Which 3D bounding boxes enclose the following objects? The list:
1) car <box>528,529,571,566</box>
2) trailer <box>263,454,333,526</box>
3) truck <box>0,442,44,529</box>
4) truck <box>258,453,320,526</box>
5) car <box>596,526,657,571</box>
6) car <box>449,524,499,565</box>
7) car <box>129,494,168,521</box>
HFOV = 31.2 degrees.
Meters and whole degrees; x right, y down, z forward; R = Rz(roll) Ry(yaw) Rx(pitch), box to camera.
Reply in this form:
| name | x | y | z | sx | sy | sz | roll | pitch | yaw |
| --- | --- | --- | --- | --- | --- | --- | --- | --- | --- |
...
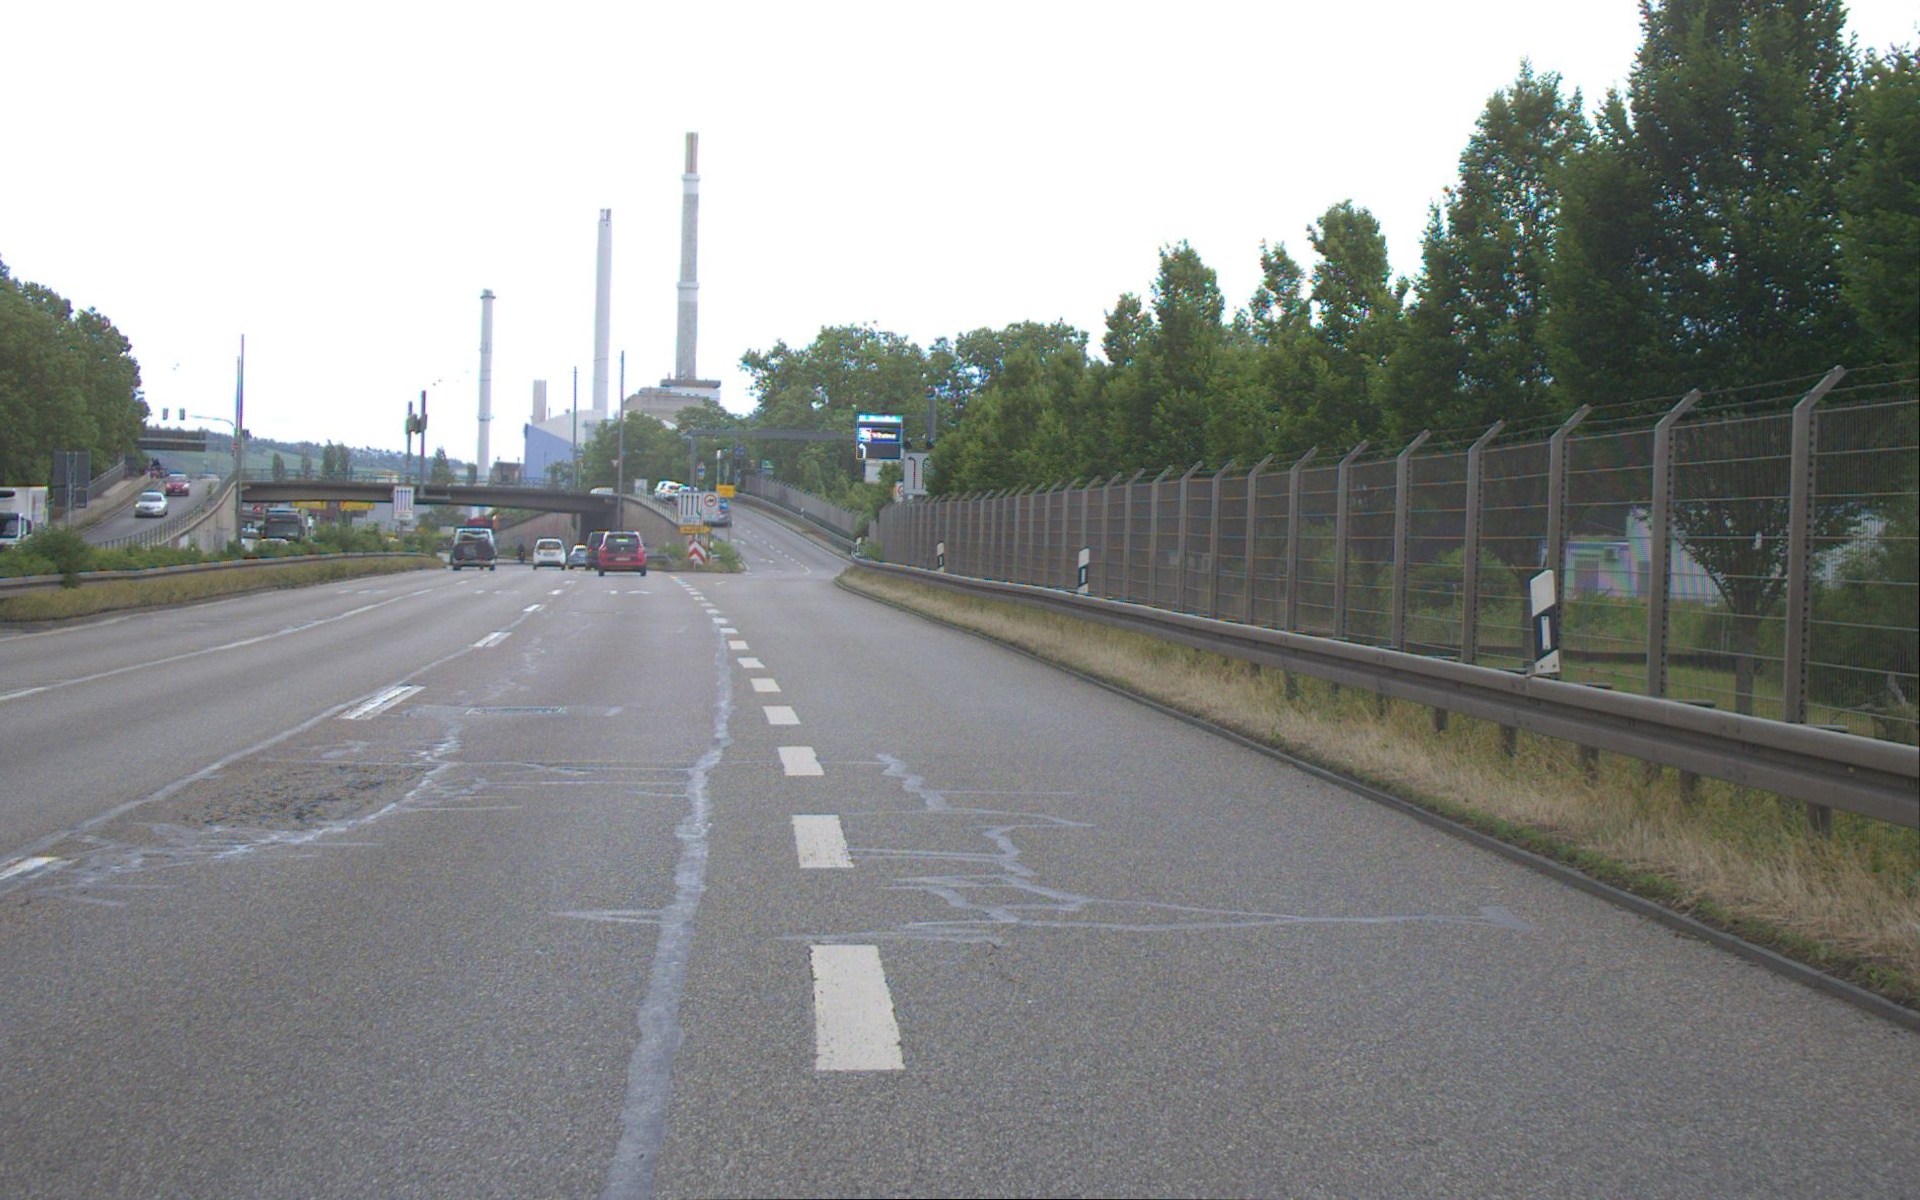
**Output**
| name | x | y | z | sx | sy | sz | roll | pitch | yaw |
| --- | --- | --- | --- | --- | --- | --- | --- | --- | --- |
| car | -20.462 | -2.636 | 171.308 | 1.993 | 1.678 | 4.001 | 2 | 2 | -6 |
| trailer | -45.685 | -7.517 | 237.592 | 3.462 | 4.657 | 14.786 | 2 | 1 | -6 |
| truck | -41.981 | -5.028 | 150.181 | 2.982 | 3.631 | 6.339 | 3 | 1 | -9 |
| truck | -44.802 | -7.361 | 229.693 | 3.462 | 4.657 | 6.213 | 2 | 1 | -6 |
| car | -11.571 | -1.794 | 119.347 | 1.993 | 1.415 | 4.001 | 2 | 2 | -5 |
| car | -21.715 | -2.500 | 153.736 | 1.993 | 1.678 | 4.001 | 2 | 2 | -6 |
| car | -52.231 | -5.962 | 221.404 | 1.993 | 1.638 | 4.605 | 3 | 1 | -8 |
